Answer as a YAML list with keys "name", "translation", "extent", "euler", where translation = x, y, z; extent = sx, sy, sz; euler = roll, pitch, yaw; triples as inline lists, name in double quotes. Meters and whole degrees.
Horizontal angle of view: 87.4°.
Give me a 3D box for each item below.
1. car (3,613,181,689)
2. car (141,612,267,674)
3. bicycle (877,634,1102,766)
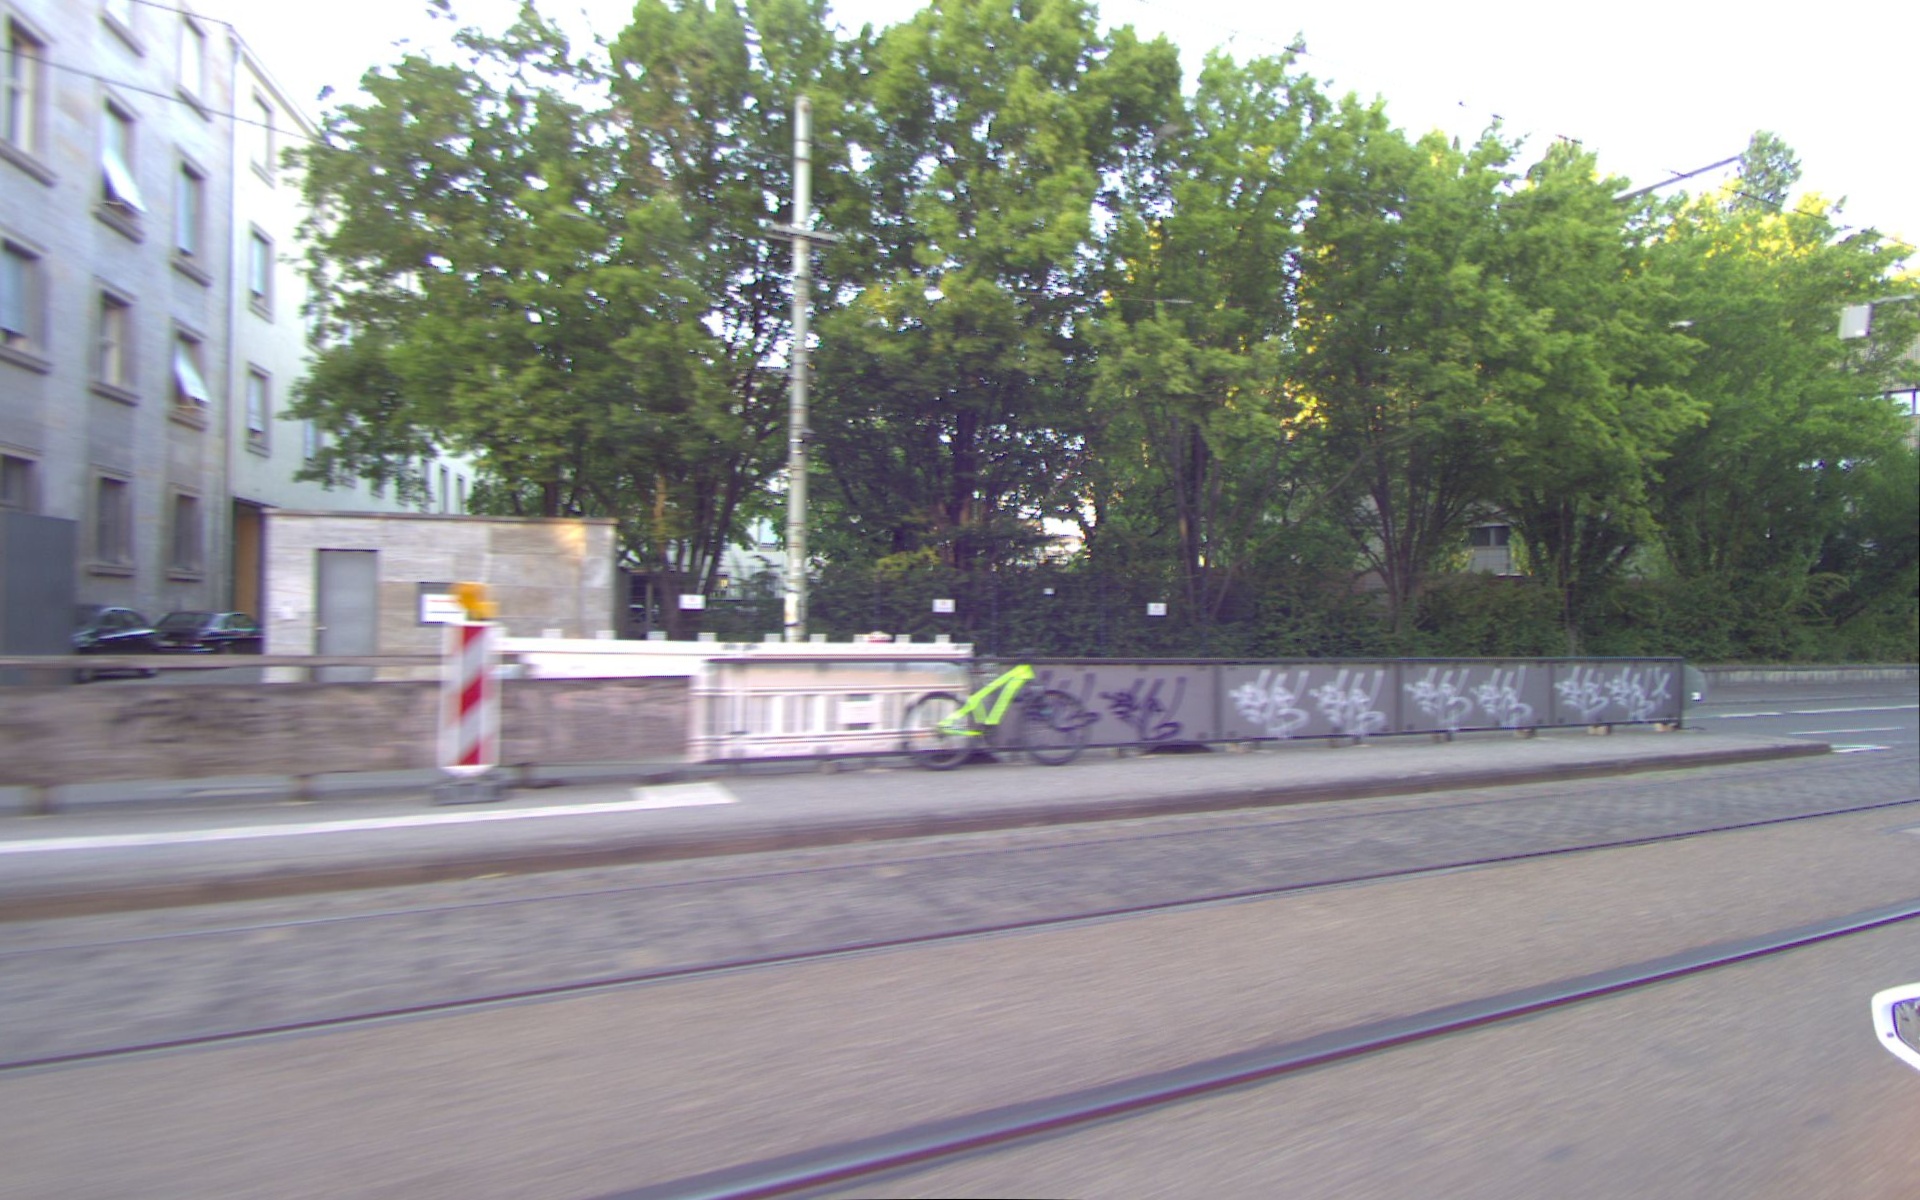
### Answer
- name: "car"
  translation: [-17.768, 0.998, 20.736]
  extent: [1.453, 1.438, 3.178]
  euler: [1, -1, -14]
- name: "car"
  translation: [-18.493, 1.023, 24.715]
  extent: [1.370, 1.438, 3.006]
  euler: [1, -1, -14]
- name: "bicycle"
  translation: [0.284, 0.860, 8.956]
  extent: [1.993, 1.089, 0.461]
  euler: [1, -1, -23]
